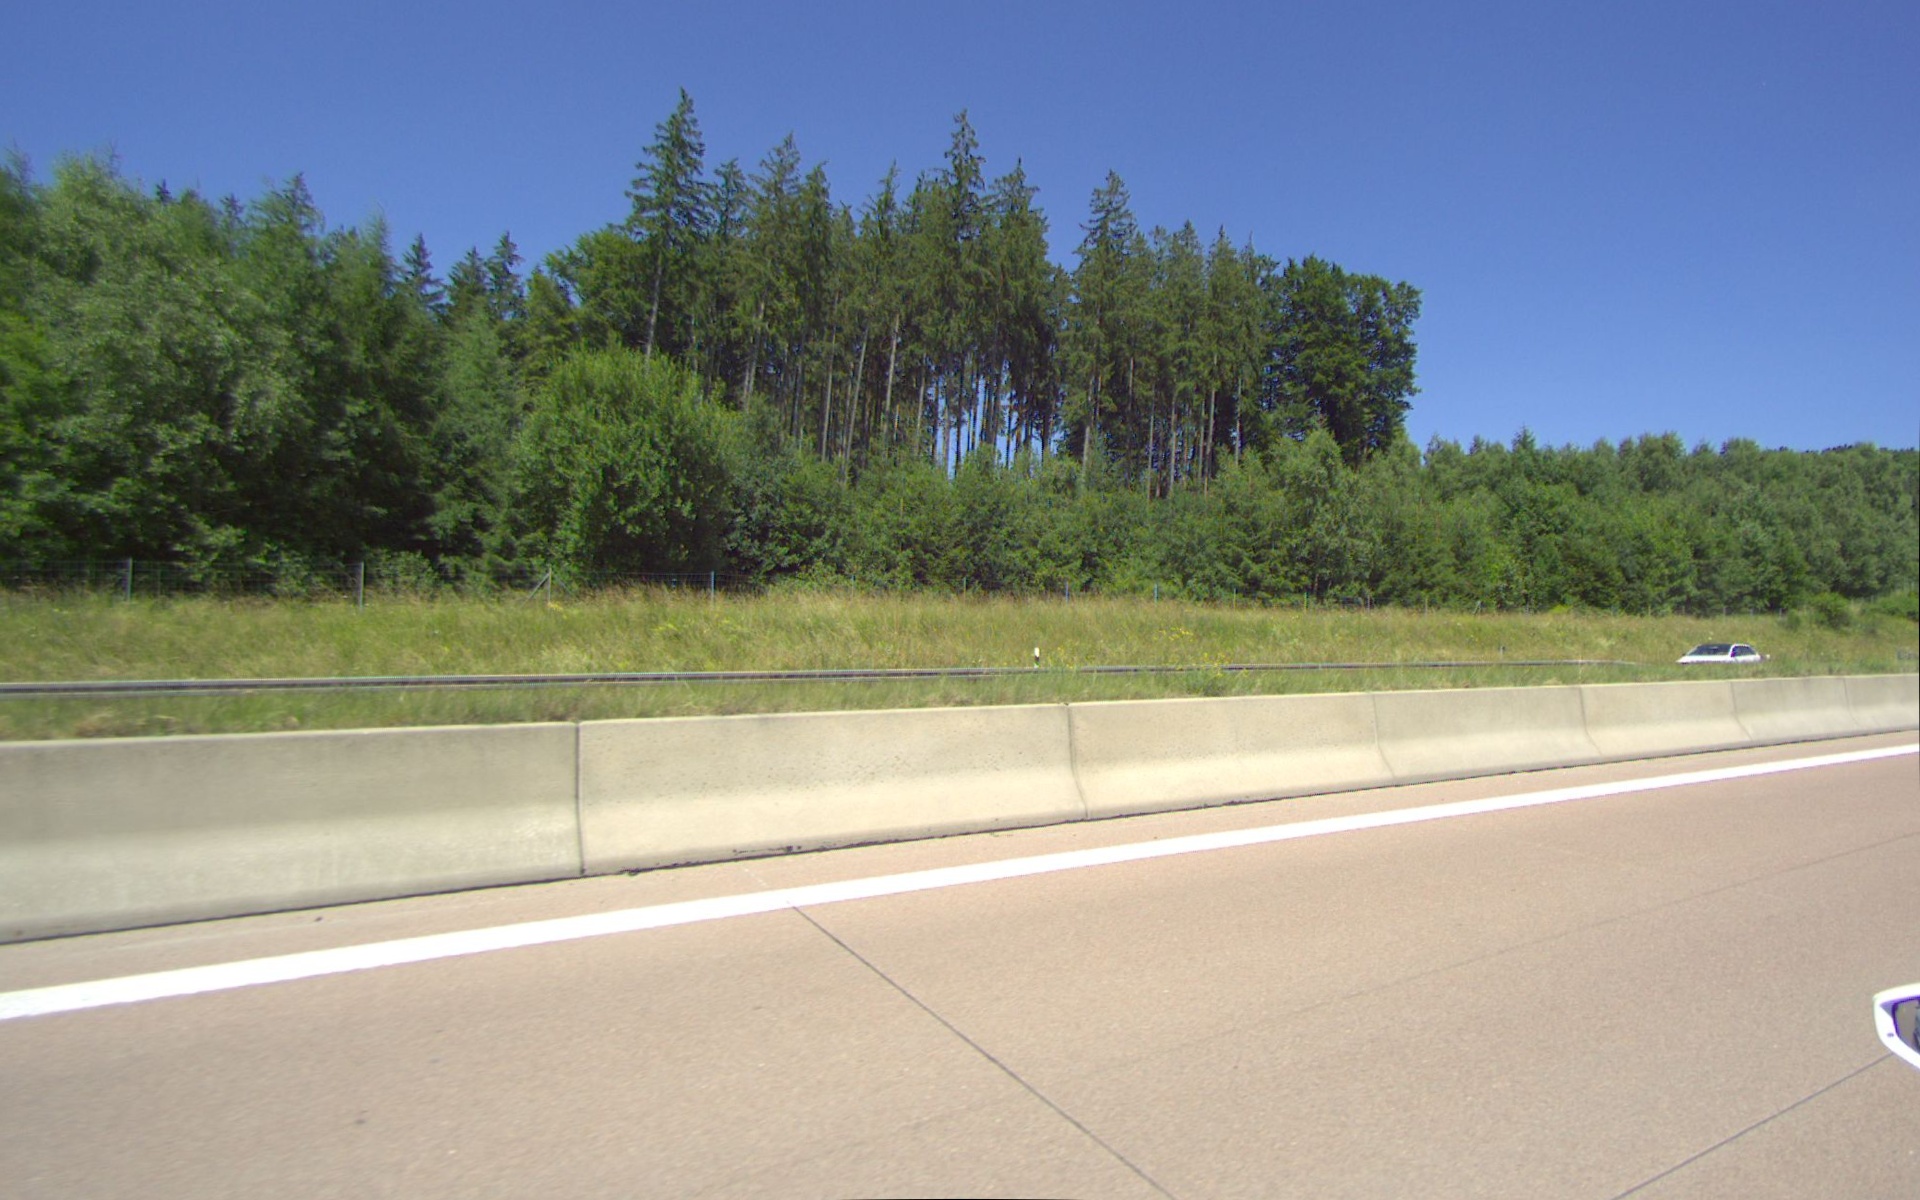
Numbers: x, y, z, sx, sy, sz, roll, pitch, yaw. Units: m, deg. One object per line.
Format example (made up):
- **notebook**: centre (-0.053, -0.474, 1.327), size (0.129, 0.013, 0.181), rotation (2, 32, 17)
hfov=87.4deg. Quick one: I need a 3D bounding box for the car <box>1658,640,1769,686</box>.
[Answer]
- **car**: centre (29.043, 2.396, 38.678), size (4.412, 1.615, 1.881), rotation (1, -1, -31)
